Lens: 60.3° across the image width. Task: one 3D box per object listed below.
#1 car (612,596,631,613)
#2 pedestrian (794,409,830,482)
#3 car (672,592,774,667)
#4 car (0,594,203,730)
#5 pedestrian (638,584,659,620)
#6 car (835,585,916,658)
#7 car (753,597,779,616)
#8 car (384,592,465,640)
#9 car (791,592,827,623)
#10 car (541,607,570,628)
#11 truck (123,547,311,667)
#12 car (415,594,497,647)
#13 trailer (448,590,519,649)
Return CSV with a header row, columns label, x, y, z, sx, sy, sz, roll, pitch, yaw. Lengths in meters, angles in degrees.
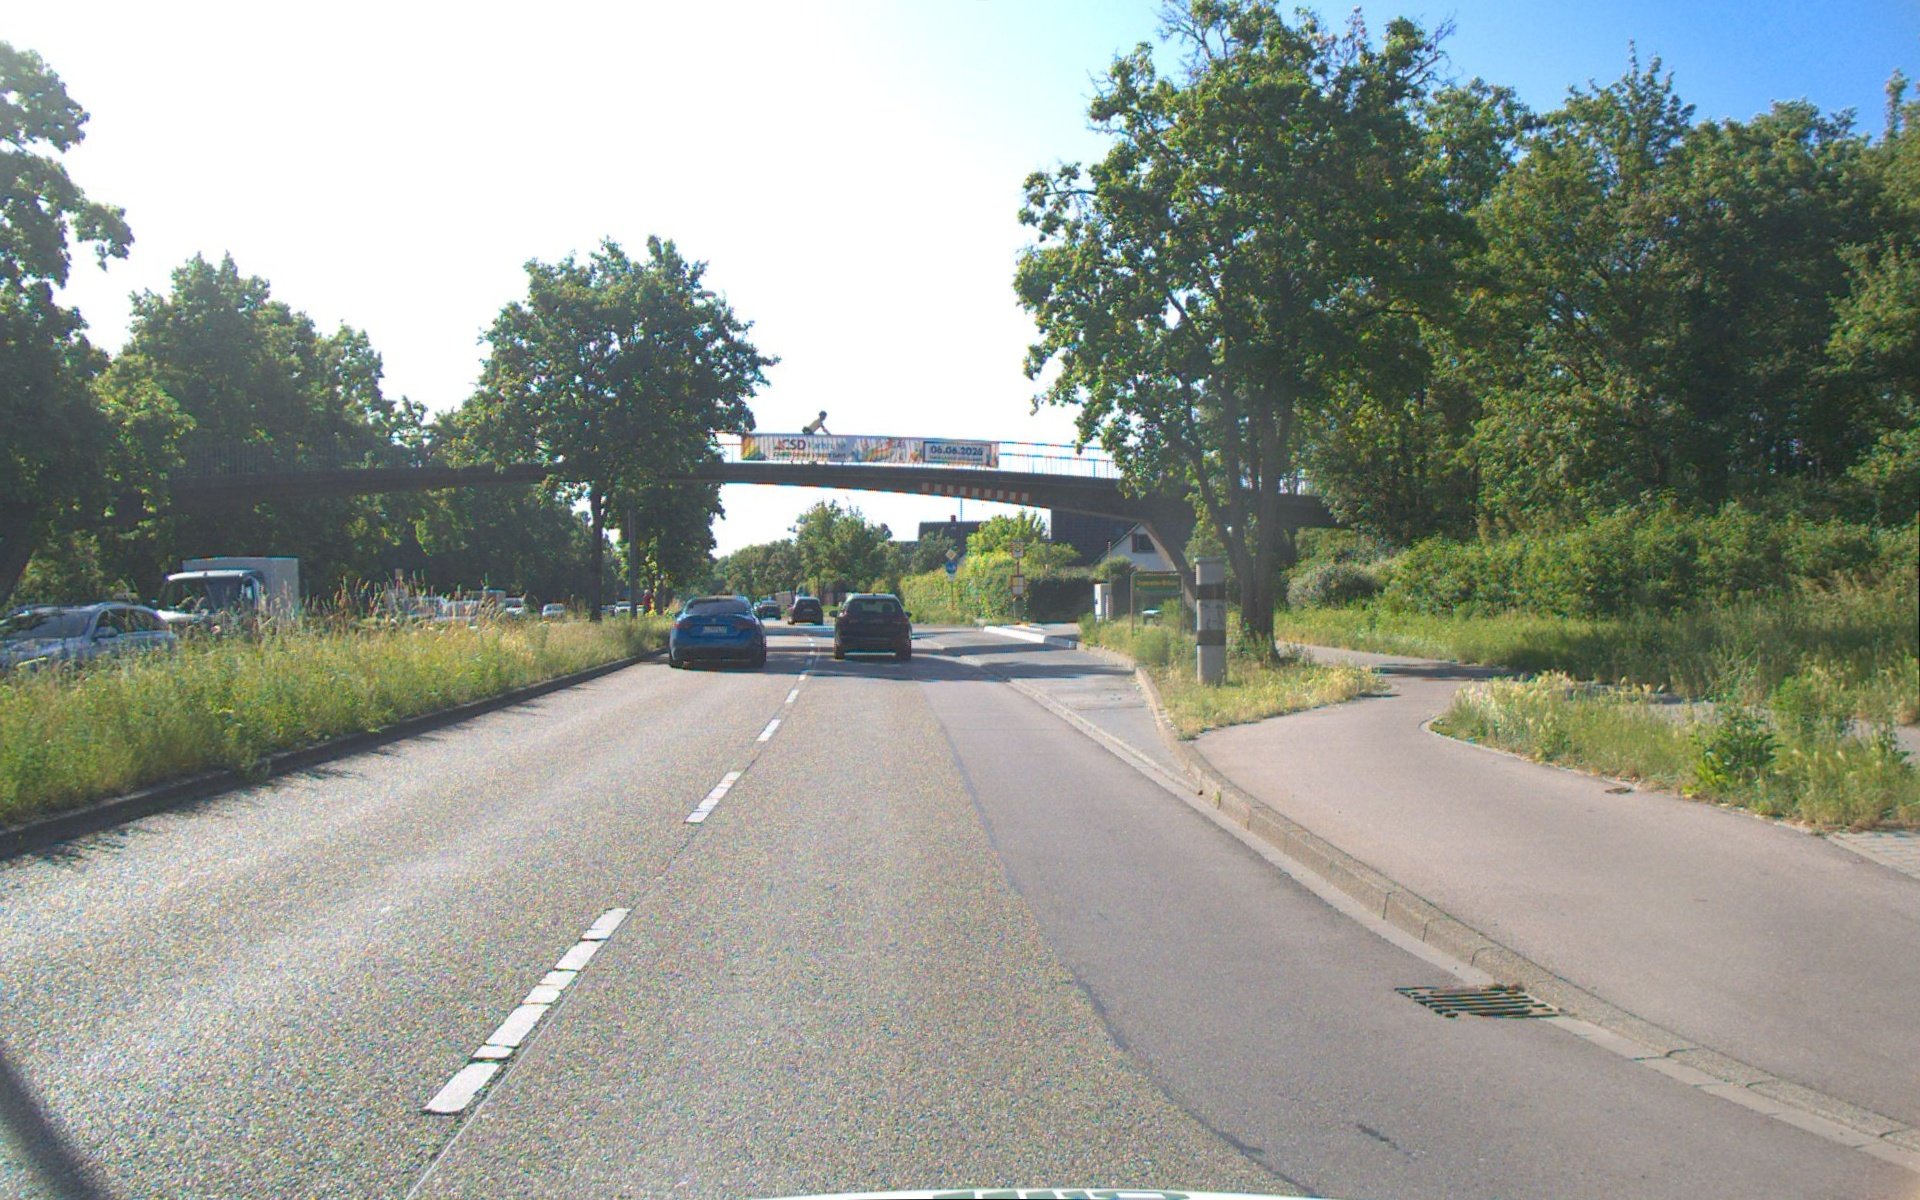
label,x,y,z,sx,sy,sz,roll,pitch,yaw
car,-33.597,0.432,164.187,1.699,1.660,4.188,-1,0,-10
pedestrian,-4.554,-4.735,50.818,1.046,2.161,0.995,-1,0,-7
car,-4.889,0.555,34.196,1.957,1.429,3.993,0,0,-8
car,-12.658,0.786,23.015,1.819,1.634,5.572,-2,1,-2
pedestrian,-15.283,0.085,81.078,0.617,1.726,0.943,0,0,20
car,-2.019,0.498,38.460,1.726,1.586,3.996,1,-1,-5
car,-15.194,0.491,129.450,1.864,1.379,3.991,-1,1,-10
car,-19.822,0.554,61.366,1.820,1.634,4.364,-2,1,-4
car,-8.293,0.369,90.671,1.711,1.625,4.167,0,1,-8
car,-29.769,1.297,121.845,1.511,1.456,4.249,-2,0,-7
truck,-17.652,0.129,39.677,2.130,2.556,5.737,-3,1,-4
car,-16.155,0.652,53.137,1.662,1.610,4.021,-1,0,-5
trailer,-16.460,0.623,57.266,1.532,1.943,4.278,-1,0,-5
